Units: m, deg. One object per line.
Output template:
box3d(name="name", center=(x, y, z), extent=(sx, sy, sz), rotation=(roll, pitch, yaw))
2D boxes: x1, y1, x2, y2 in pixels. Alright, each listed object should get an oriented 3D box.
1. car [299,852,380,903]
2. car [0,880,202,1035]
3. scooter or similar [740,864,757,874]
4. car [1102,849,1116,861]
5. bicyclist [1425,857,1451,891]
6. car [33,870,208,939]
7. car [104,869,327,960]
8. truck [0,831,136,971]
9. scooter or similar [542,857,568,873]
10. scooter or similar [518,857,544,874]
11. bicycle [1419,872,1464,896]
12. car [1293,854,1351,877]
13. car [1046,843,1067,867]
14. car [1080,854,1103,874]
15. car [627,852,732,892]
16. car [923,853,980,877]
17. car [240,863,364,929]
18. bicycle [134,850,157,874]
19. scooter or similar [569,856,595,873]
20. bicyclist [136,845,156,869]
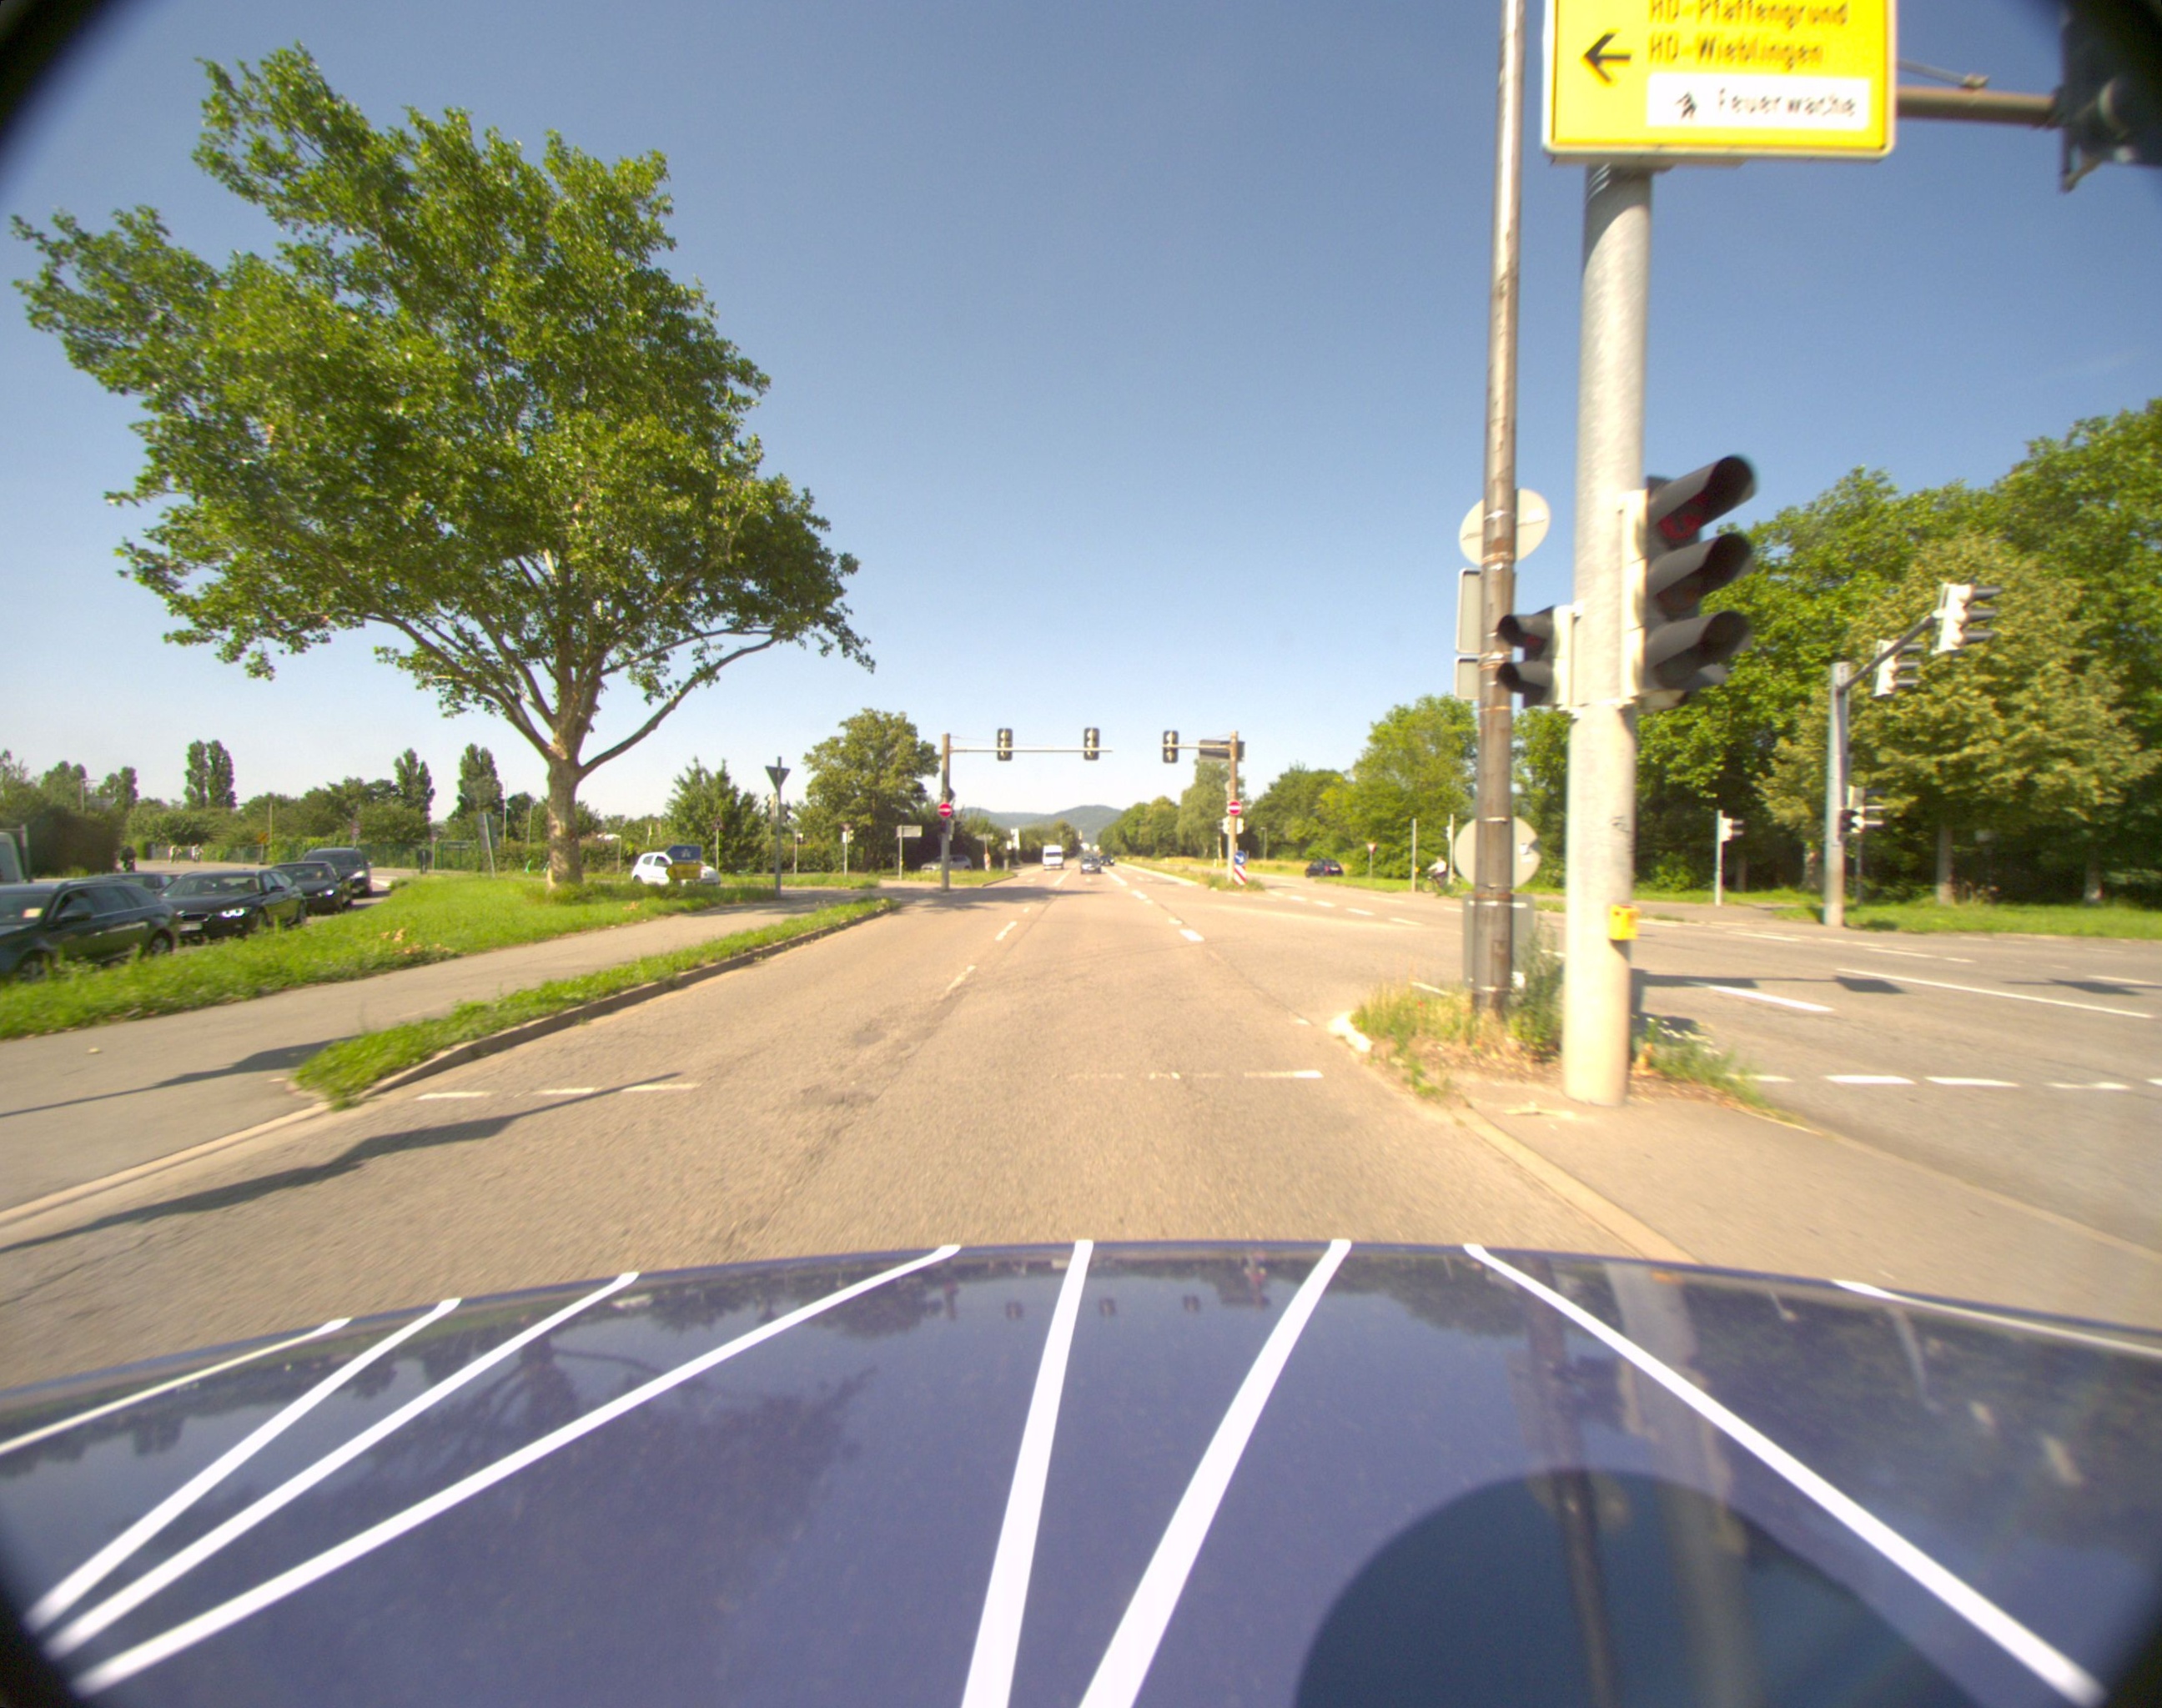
box3d(name="car", center=(-26.863, 0.809, 27.512), extent=(4.456, 1.625, 1.890), rotation=(-1, 2, 45))
box3d(name="car", center=(-13.763, 1.219, 9.598), extent=(2.003, 1.538, 4.605), rotation=(-1, 1, -29))
box3d(name="scooter or similar", center=(-24.747, 1.146, 56.526), extent=(1.123, 0.722, 0.435), rotation=(1, 0, -19))
box3d(name="car", center=(3.470, 0.090, 93.770), extent=(1.678, 1.435, 3.622), rotation=(-1, 1, 1))
box3d(name="bicyclist", center=(16.211, 0.897, 34.506), extent=(0.848, 1.509, 0.747), rotation=(0, 0, 6))
box3d(name="car", center=(-24.969, 1.235, 19.947), extent=(1.894, 1.412, 3.989), rotation=(-3, 2, -38))
box3d(name="car", center=(-18.465, 1.170, 16.520), extent=(2.003, 1.519, 4.457), rotation=(-2, 2, -33))
box3d(name="truck", center=(-19.879, 0.837, 13.122), extent=(2.349, 2.373, 6.458), rotation=(-3, 2, -32))
box3d(name="scooter or similar", center=(-36.408, 0.760, 52.620), extent=(1.384, 1.111, 0.500), rotation=(-1, 1, -6))
box3d(name="scooter or similar", center=(-37.941, 0.778, 52.440), extent=(1.384, 1.111, 0.500), rotation=(-1, 1, -6))
box3d(name="bicycle", center=(16.369, 1.356, 34.505), extent=(1.679, 1.035, 0.747), rotation=(0, 0, 6))
box3d(name="car", center=(18.120, 0.833, 57.249), extent=(2.002, 1.487, 4.276), rotation=(0, 2, -18))
box3d(name="car", center=(-2.495, 0.055, 78.803), extent=(1.998, 2.432, 5.088), rotation=(-1, 1, 1))
box3d(name="car", center=(0.802, 0.747, 58.296), extent=(1.678, 1.435, 4.361), rotation=(-1, 1, 1))
box3d(name="car", center=(-15.528, 0.642, 29.356), extent=(3.745, 1.461, 1.789), rotation=(0, 1, 28))
box3d(name="car", center=(-9.483, 0.781, 56.078), extent=(1.903, 1.670, 4.691), rotation=(1, 1, 23))
box3d(name="car", center=(-22.611, 1.120, 22.240), extent=(1.890, 1.625, 4.456), rotation=(-3, 2, -38))
box3d(name="bicycle", center=(-54.626, 0.461, 44.362), extent=(2.275, 1.368, 0.613), rotation=(0, 1, 34))
box3d(name="scooter or similar", center=(-34.850, 0.738, 53.085), extent=(1.385, 1.111, 0.499), rotation=(-1, 1, -18))
box3d(name="bicyclist", center=(-54.480, 0.165, 44.261), extent=(0.916, 1.373, 0.613), rotation=(0, 1, 34))
